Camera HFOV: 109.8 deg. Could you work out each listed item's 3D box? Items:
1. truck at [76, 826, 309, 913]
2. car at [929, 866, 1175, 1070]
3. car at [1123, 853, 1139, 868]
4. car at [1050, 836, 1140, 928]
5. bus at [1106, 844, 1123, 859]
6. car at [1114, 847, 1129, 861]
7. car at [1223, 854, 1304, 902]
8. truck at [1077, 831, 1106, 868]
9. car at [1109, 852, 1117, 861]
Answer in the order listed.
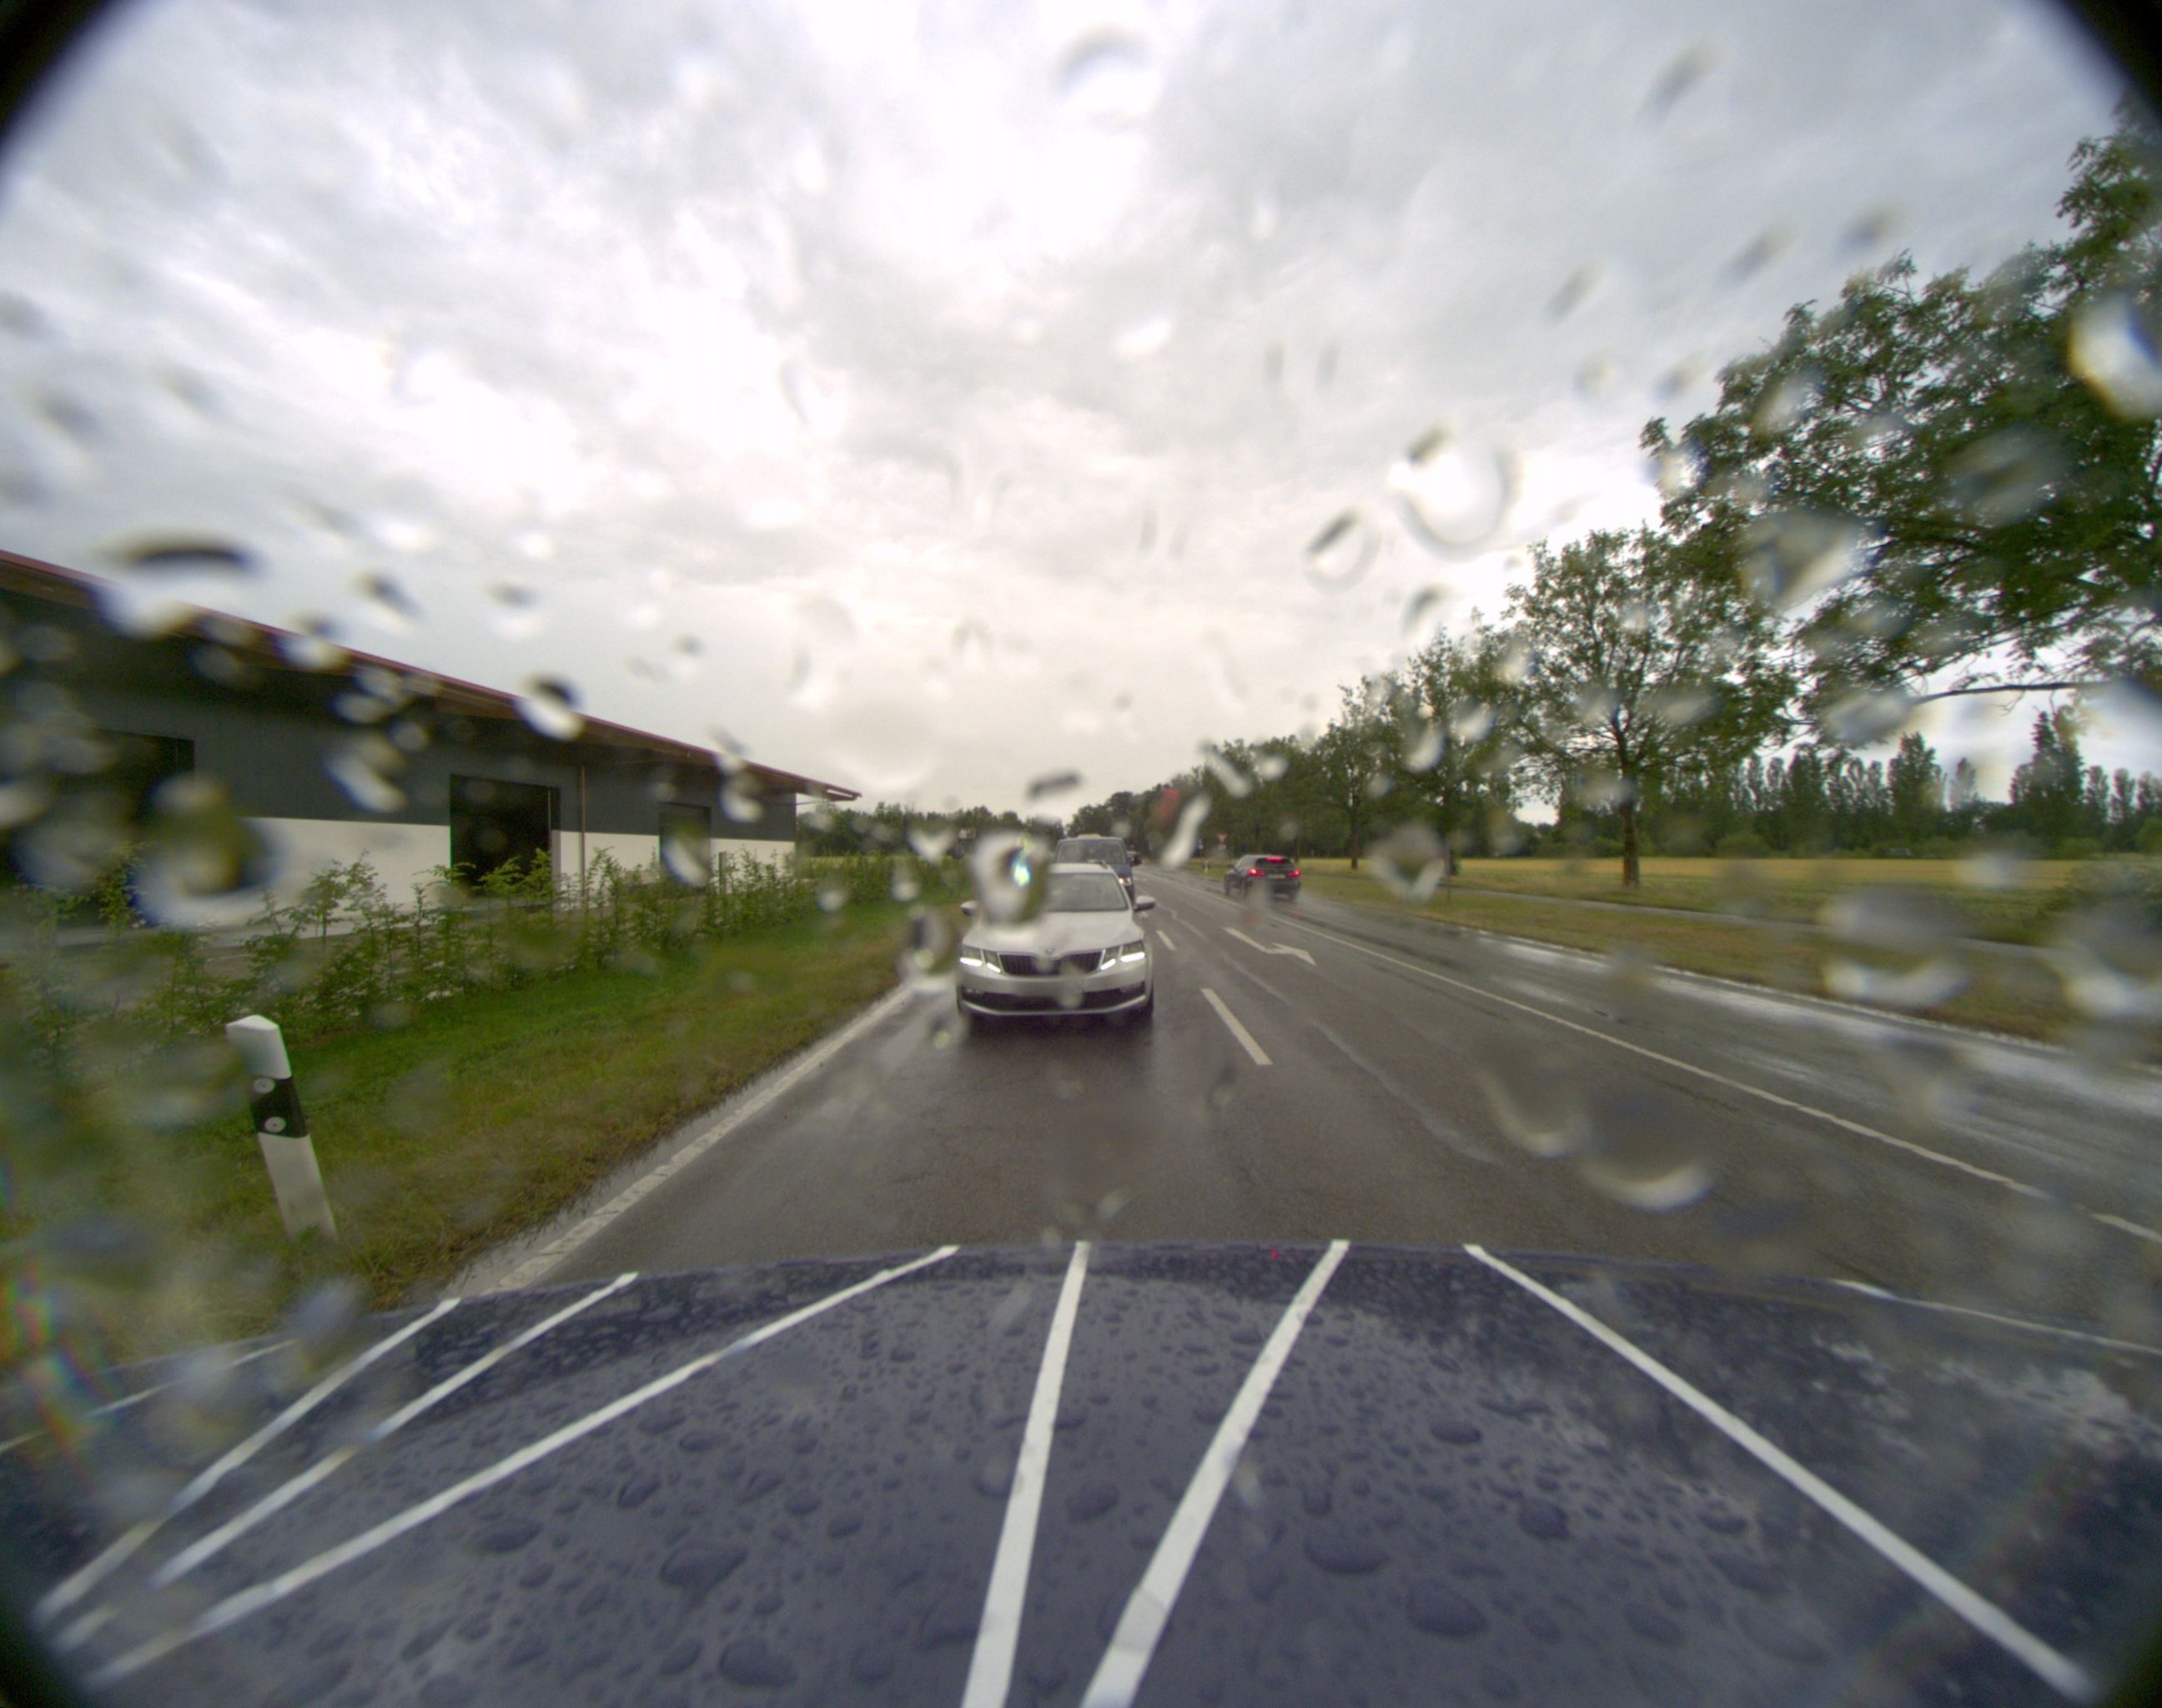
[{"bbox_3d":[-33.342,0.530,28.872,2.496,2.996,5.343,0,1,1],"label":"truck"},{"bbox_3d":[-0.190,0.920,8.145,1.843,1.379,4.568,-2,1,1],"label":"car"},{"bbox_3d":[6.003,0.724,90.909,1.708,1.661,4.156,1,1,2],"label":"car"},{"bbox_3d":[0.316,0.568,18.088,1.892,1.939,4.000,0,1,1],"label":"car"},{"bbox_3d":[6.976,-0.571,159.568,2.958,2.895,12.472,0,1,0],"label":"bus"},{"bbox_3d":[5.709,-0.079,106.965,1.921,1.851,4.684,1,1,0],"label":"car"},{"bbox_3d":[5.991,0.737,25.446,1.724,1.396,4.043,1,1,0],"label":"car"},{"bbox_3d":[1.190,-0.561,85.824,2.931,3.829,14.119,0,0,1],"label":"truck"},{"bbox_3d":[5.666,0.388,134.541,1.504,1.521,3.301,1,1,2],"label":"car"}]
